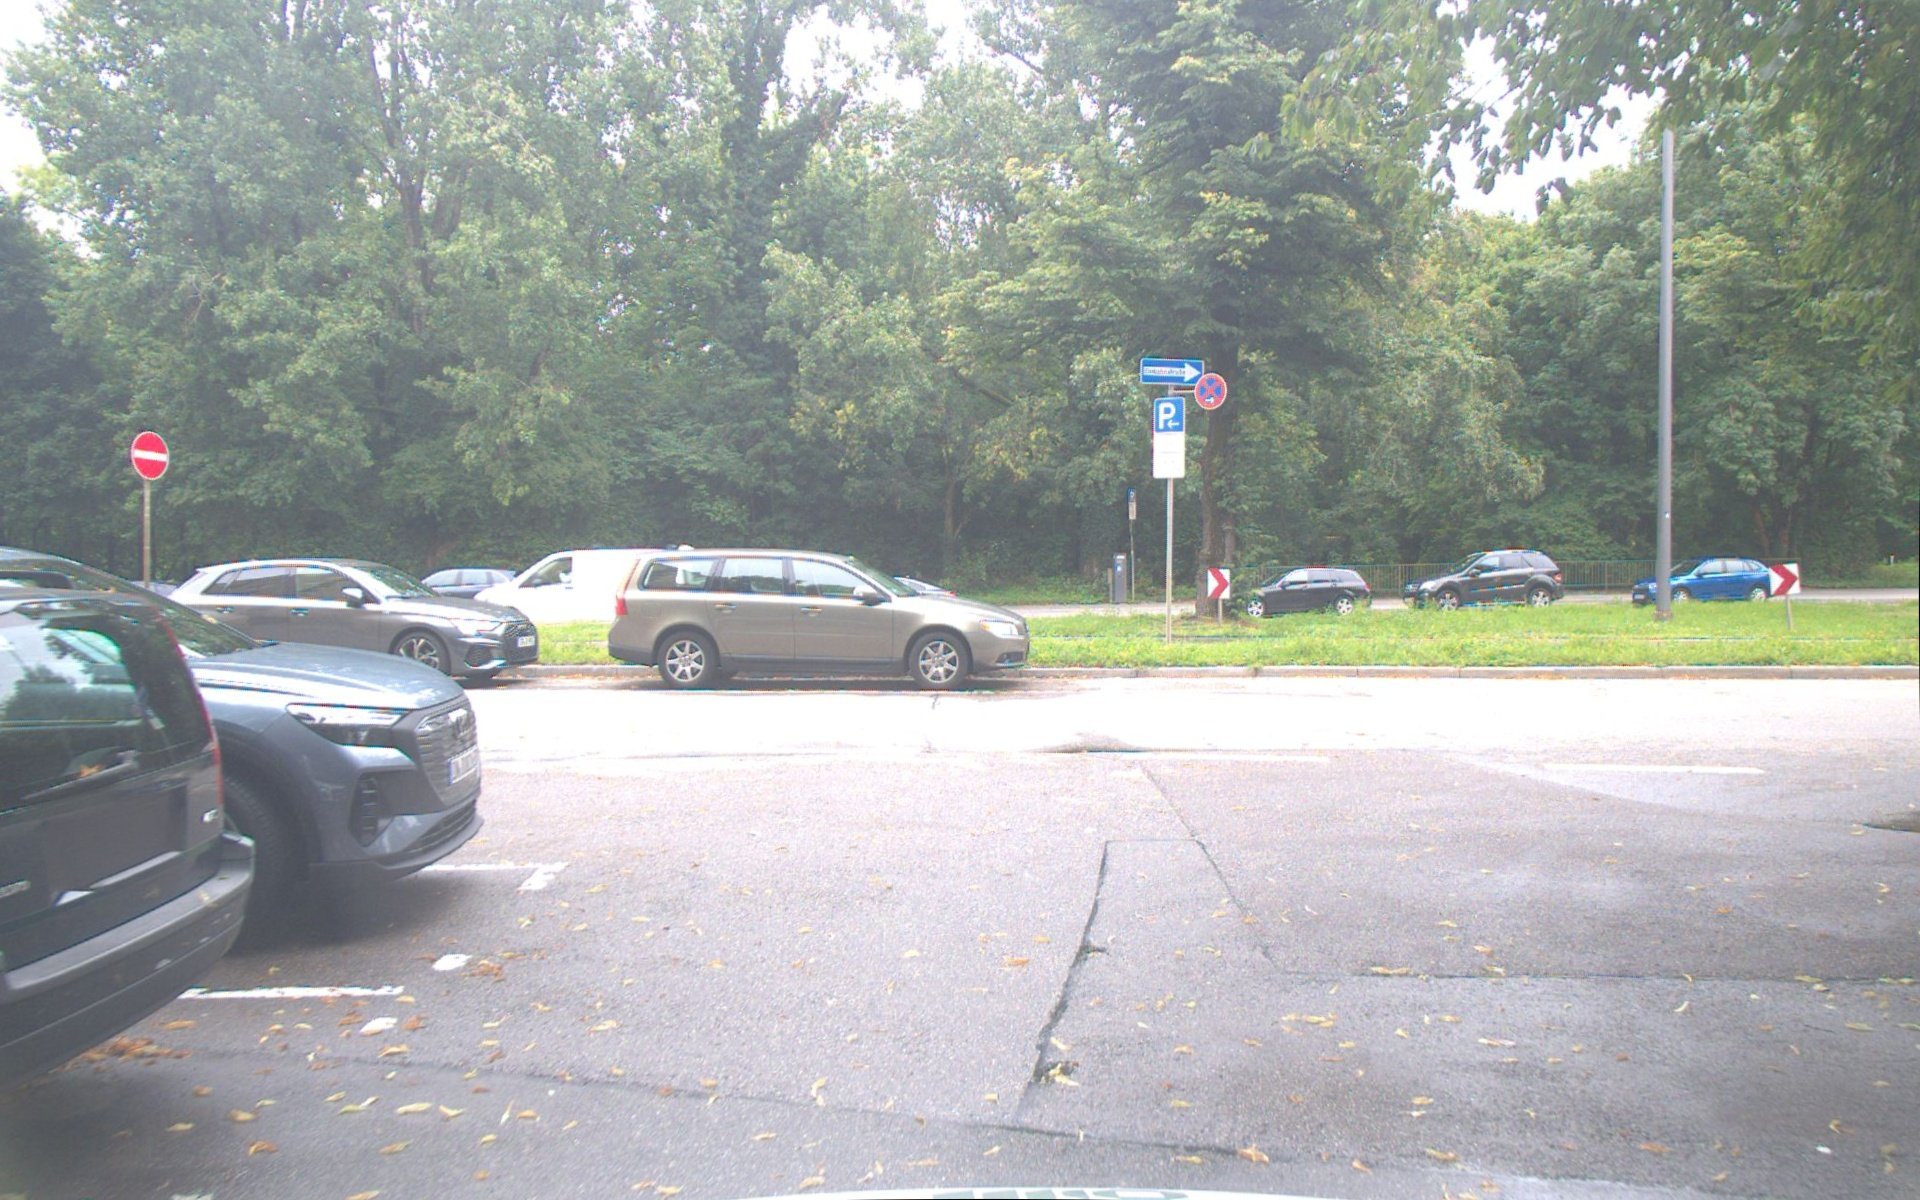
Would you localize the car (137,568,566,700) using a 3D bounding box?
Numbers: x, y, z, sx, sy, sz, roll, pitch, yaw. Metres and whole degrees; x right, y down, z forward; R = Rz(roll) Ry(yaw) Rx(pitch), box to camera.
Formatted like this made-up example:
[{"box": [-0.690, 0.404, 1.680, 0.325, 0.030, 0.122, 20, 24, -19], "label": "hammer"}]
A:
[{"box": [-6.897, 0.365, 18.979, 4.255, 1.404, 1.771, -1, 1, 7], "label": "car"}]

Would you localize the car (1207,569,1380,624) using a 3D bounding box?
[{"box": [9.612, -0.112, 47.809, 4.498, 1.497, 1.927, -1, 1, -10], "label": "car"}]

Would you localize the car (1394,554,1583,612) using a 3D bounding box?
[{"box": [15.496, -0.500, 48.581, 4.938, 1.593, 1.996, -1, 1, -10], "label": "car"}]

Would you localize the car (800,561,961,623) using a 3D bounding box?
[{"box": [-2.216, -0.238, 45.956, 4.347, 1.606, 1.930, -1, 1, -4], "label": "car"}]

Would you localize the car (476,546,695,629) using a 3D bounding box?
[{"box": [-8.089, -0.284, 36.104, 4.418, 1.697, 1.929, -1, 1, -6], "label": "car"}]

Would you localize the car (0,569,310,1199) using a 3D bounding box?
[{"box": [-3.924, 0.718, 4.086, 3.907, 1.489, 1.735, -1, 2, -2], "label": "car"}]

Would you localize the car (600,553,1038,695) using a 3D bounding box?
[{"box": [-1.489, 0.233, 18.689, 4.701, 1.521, 1.843, 0, 1, 4], "label": "car"}]

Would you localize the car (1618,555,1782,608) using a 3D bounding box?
[{"box": [22.369, -0.569, 50.073, 4.187, 1.497, 1.927, -1, 1, -10], "label": "car"}]

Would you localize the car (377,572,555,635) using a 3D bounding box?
[{"box": [-13.411, 0.079, 45.116, 4.349, 1.606, 1.929, -1, 1, -6], "label": "car"}]

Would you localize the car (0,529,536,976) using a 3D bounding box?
[{"box": [-4.068, 0.558, 6.984, 4.078, 1.629, 1.735, -1, 3, -2], "label": "car"}]
